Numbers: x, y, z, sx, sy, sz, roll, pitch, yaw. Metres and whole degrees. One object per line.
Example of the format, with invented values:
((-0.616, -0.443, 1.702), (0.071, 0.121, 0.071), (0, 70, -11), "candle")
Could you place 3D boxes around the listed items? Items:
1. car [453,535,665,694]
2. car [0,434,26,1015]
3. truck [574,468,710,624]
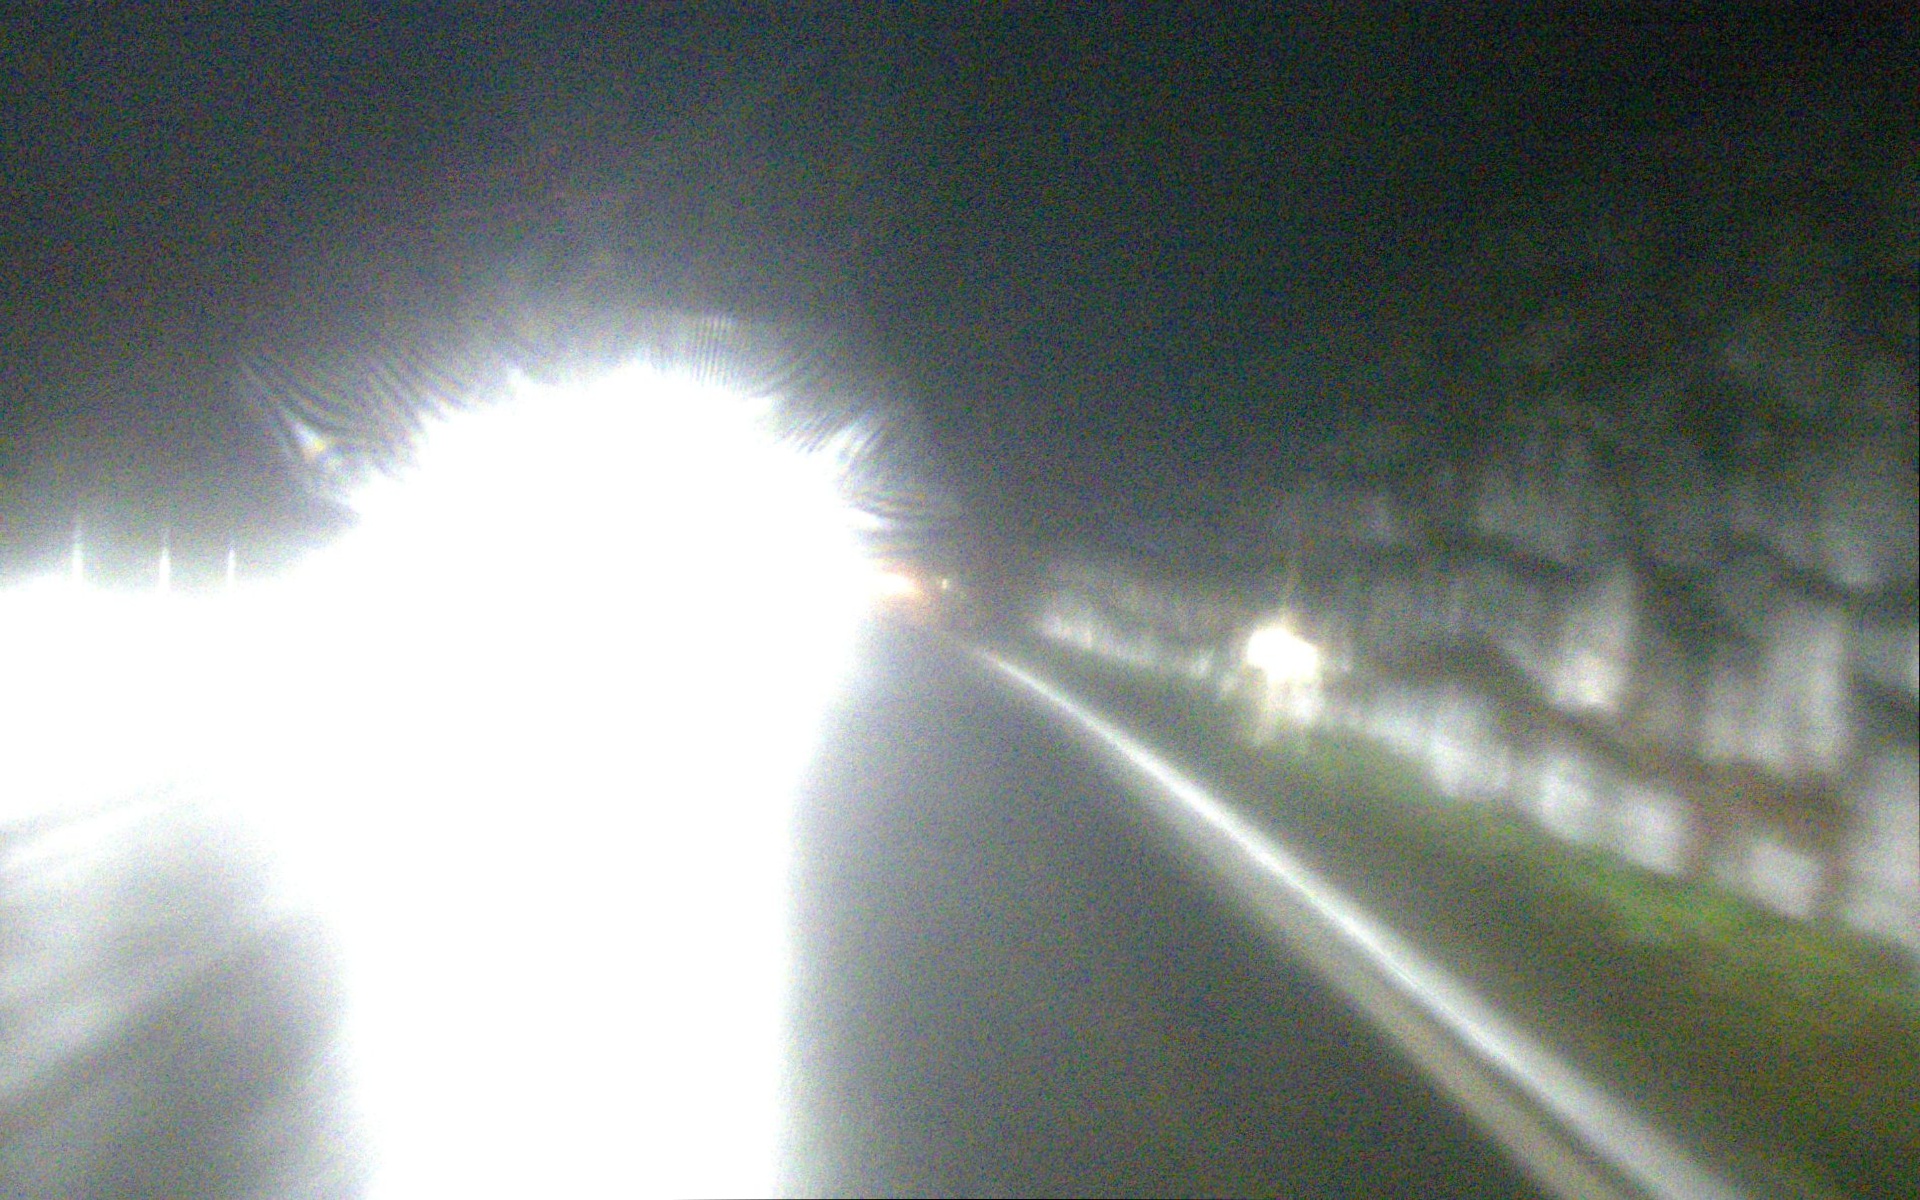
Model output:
((-4.177, 0.105, 36.372), (1.885, 1.570, 4.050), (0, 1, -2), "car")
((-3.814, 0.416, 9.084), (1.742, 1.817, 3.878), (0, 1, -2), "car")
((-5.391, -0.935, 58.826), (2.137, 2.526, 5.280), (0, 1, -3), "truck")
